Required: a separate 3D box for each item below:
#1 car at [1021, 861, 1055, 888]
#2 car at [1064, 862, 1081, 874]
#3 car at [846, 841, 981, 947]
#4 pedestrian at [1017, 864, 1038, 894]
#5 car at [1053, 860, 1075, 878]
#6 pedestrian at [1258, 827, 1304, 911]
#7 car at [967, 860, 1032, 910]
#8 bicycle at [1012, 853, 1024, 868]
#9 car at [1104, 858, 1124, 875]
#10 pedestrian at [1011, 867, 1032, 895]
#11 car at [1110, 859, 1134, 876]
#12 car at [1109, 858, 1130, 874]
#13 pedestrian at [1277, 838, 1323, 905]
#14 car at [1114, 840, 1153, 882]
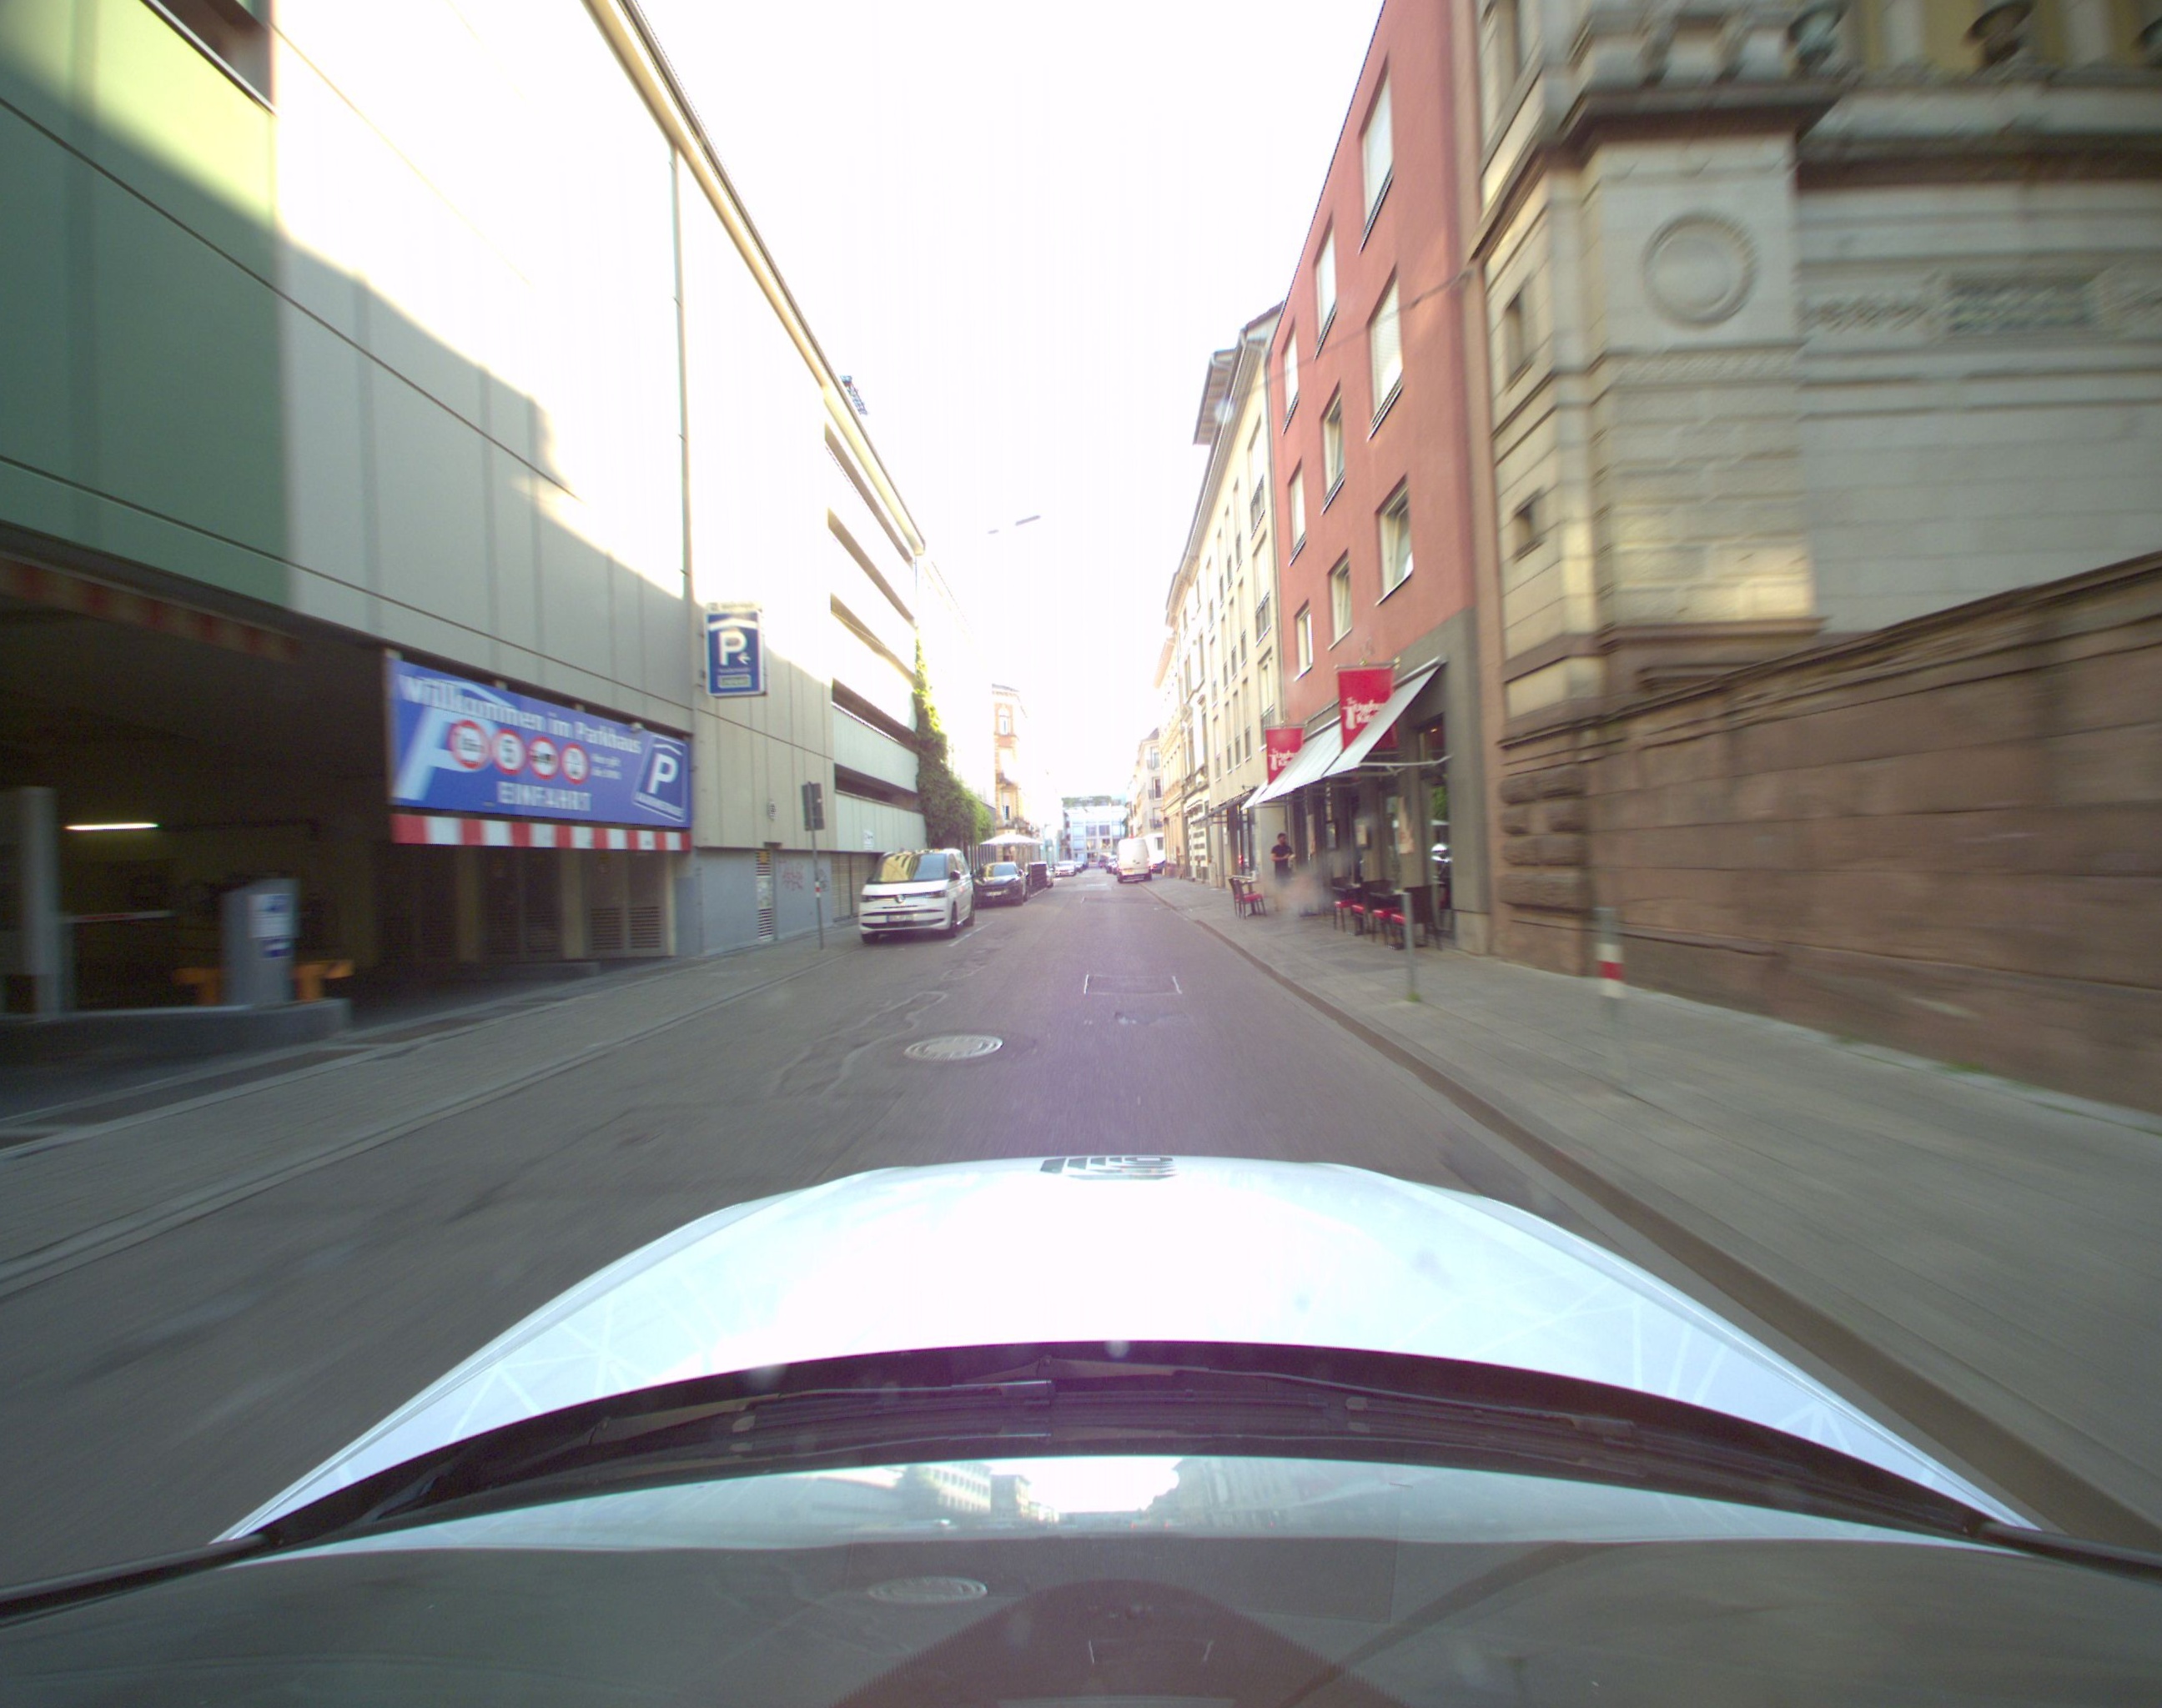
[{"bbox_3d":[-2.405,1.163,46.500,1.652,1.414,3.882,-3,-1,0],"label":"car"},{"bbox_3d":[-1.003,1.769,100.693,1.987,1.355,4.429,-2,-1,1],"label":"car"},{"bbox_3d":[-3.583,0.809,18.393,1.988,1.940,4.848,-4,0,-1],"label":"car"},{"bbox_3d":[-2.363,1.097,36.096,0.778,1.287,0.916,-3,-1,1],"label":"pedestrian"},{"bbox_3d":[-1.598,1.405,77.794,1.988,1.564,4.504,-4,0,-1],"label":"car"},{"bbox_3d":[4.524,0.337,18.482,0.726,1.792,0.660,-5,-1,0],"label":"pedestrian"},{"bbox_3d":[-2.910,1.070,30.096,1.876,1.568,4.769,-5,0,-1],"label":"car"},{"bbox_3d":[-3.945,0.390,50.893,0.594,0.905,1.643,-2,0,-1],"label":"bicycle"},{"bbox_3d":[3.543,1.320,88.138,1.887,1.784,4.000,-2,-1,0],"label":"car"},{"bbox_3d":[-2.566,1.157,35.109,0.546,1.165,0.746,-3,-1,33],"label":"pedestrian"},{"bbox_3d":[3.823,1.235,76.643,1.932,1.372,3.788,-4,0,0],"label":"car"},{"bbox_3d":[3.926,1.221,82.714,1.957,1.557,3.889,-2,-1,1],"label":"car"},{"bbox_3d":[5.128,0.407,19.115,0.822,1.485,0.661,-4,2,0],"label":"pedestrian"},{"bbox_3d":[3.292,0.429,52.105,2.268,2.439,6.207,-2,-1,2],"label":"car"}]
